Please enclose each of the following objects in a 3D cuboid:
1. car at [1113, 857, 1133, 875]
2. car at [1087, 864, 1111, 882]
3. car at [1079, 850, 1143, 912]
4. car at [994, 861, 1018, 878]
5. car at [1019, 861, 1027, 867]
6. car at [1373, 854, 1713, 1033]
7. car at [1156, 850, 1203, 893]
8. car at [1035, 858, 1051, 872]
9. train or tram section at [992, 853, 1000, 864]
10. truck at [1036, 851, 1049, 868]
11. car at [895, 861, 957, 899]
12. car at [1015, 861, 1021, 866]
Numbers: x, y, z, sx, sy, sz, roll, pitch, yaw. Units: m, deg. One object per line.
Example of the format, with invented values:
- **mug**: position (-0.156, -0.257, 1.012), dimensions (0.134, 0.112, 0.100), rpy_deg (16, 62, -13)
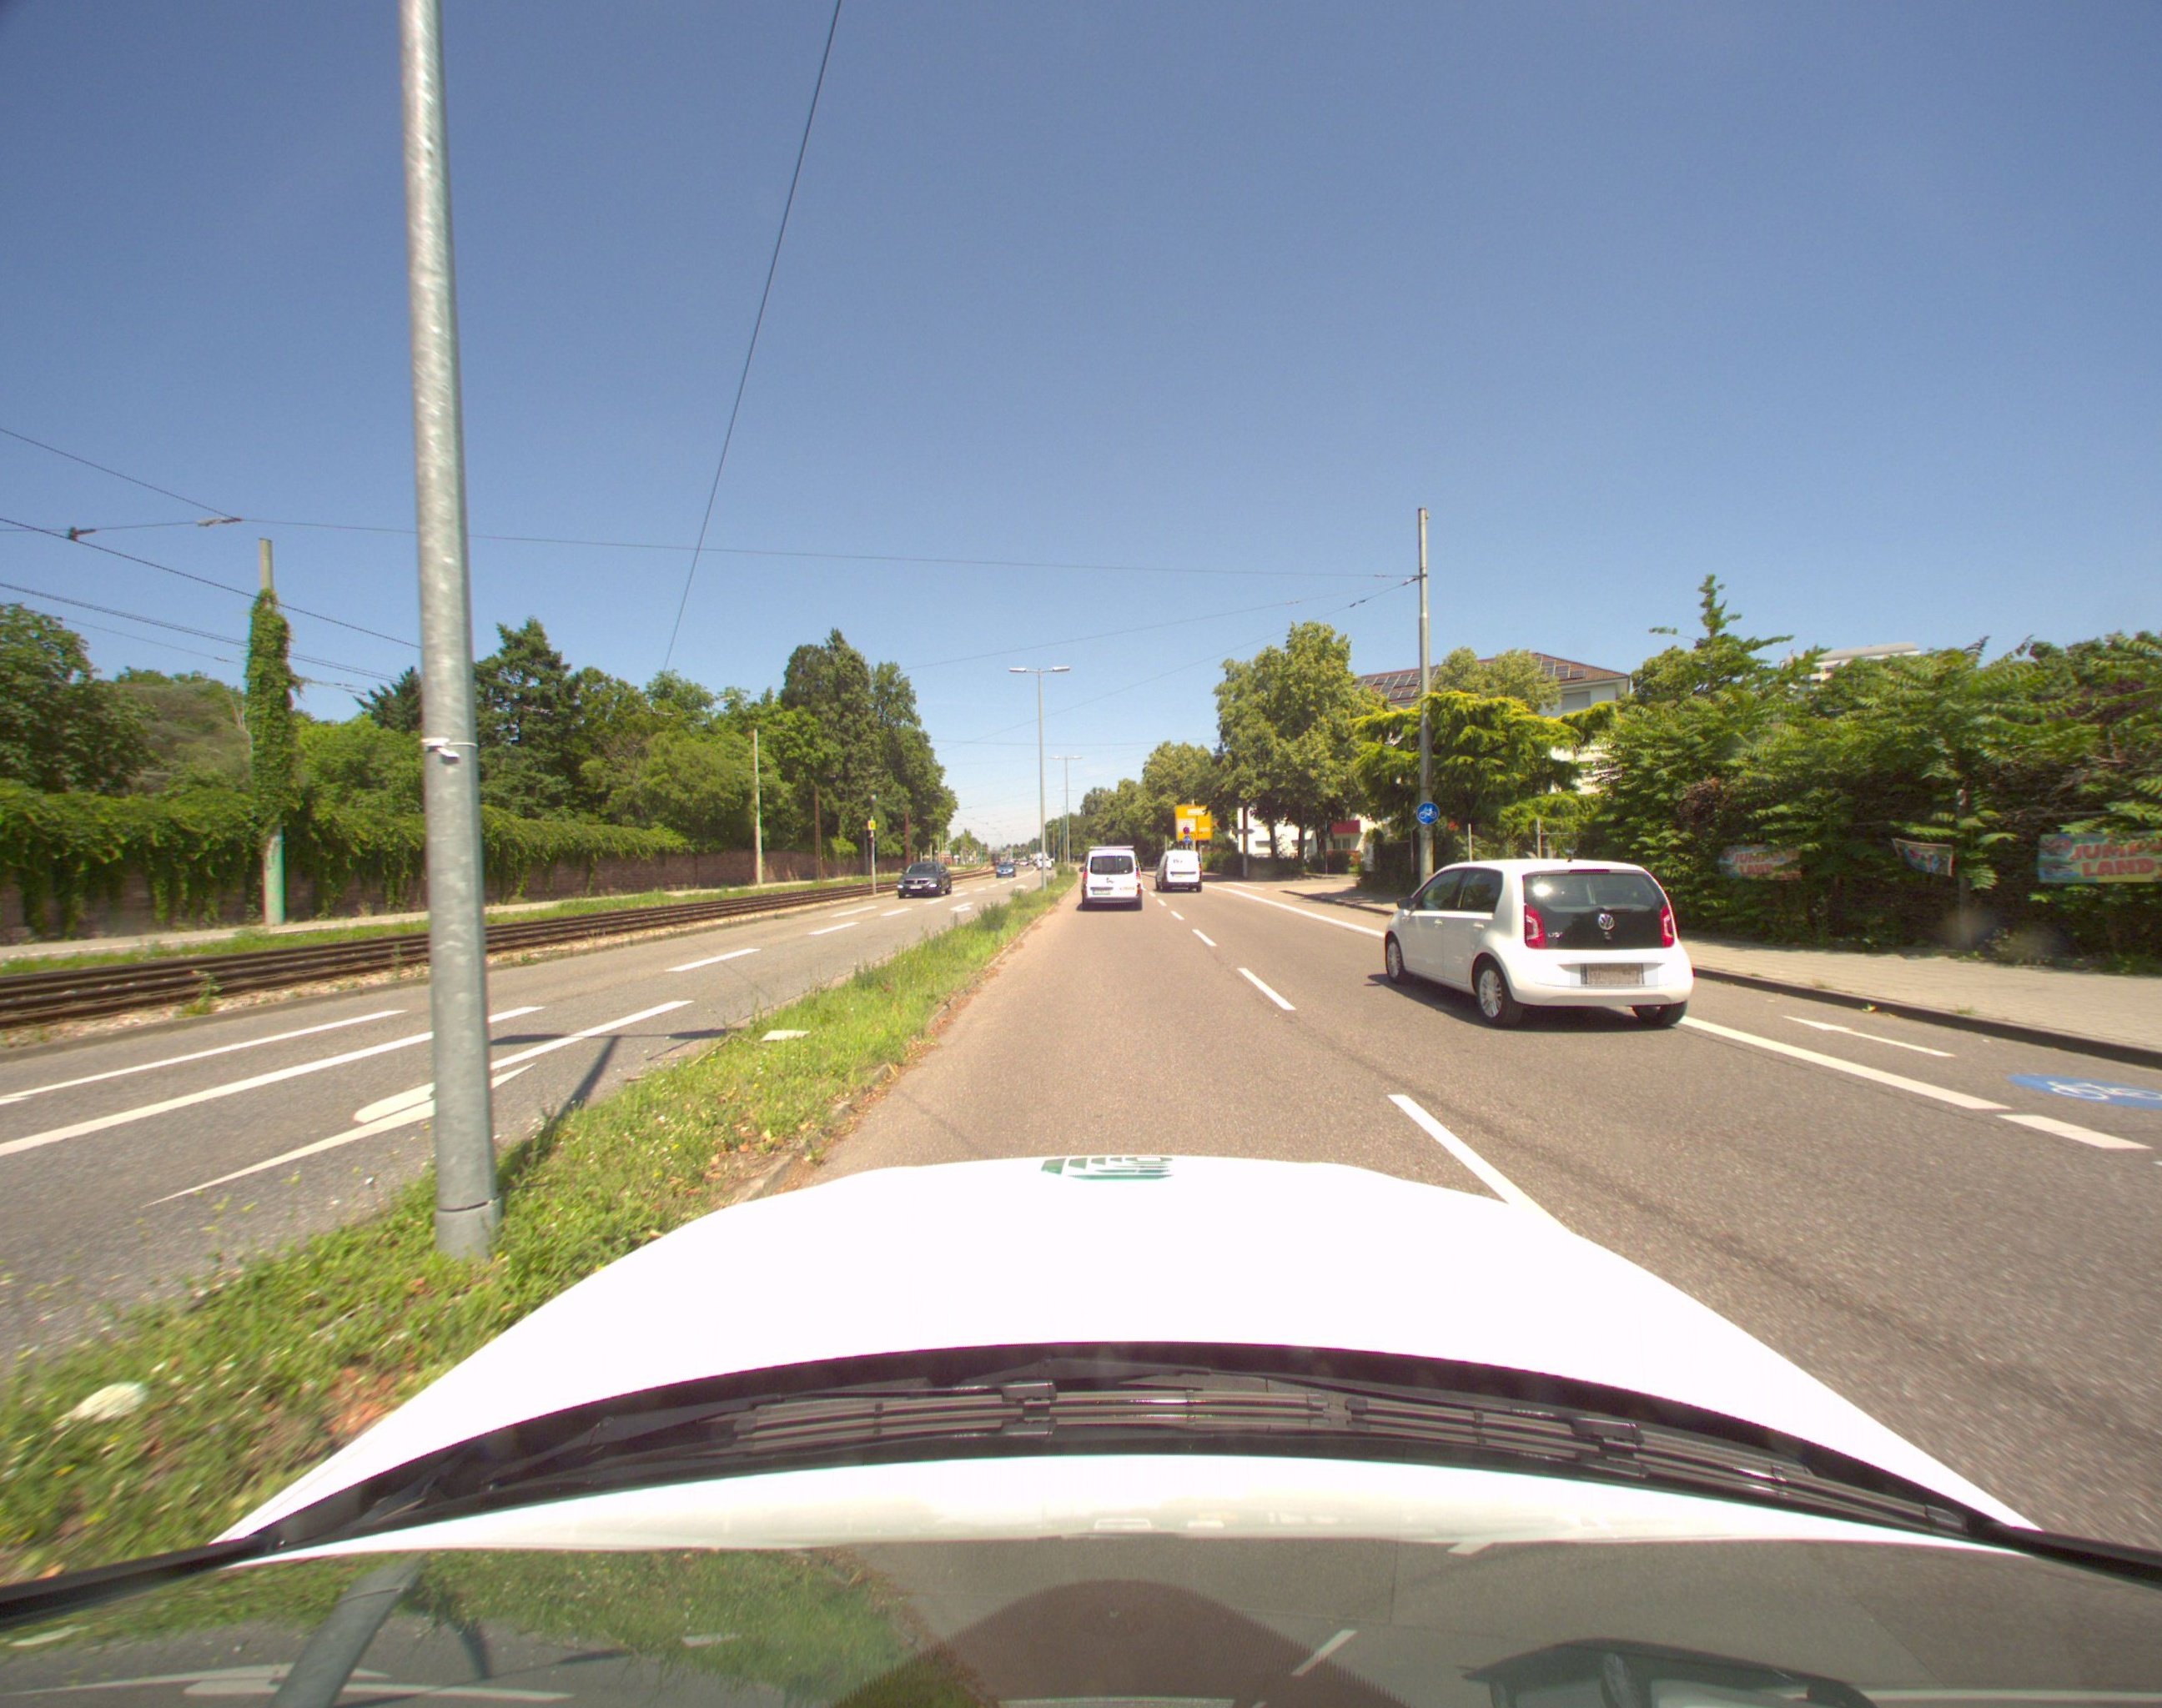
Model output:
- **car**: position (3.922, 1.111, 76.574), dimensions (1.828, 1.568, 4.003), rpy_deg (0, 0, 2)
- **car**: position (1.290, 1.356, 59.282), dimensions (1.686, 1.215, 3.590), rpy_deg (0, 0, 1)
- **car**: position (0.941, 0.757, 25.138), dimensions (1.814, 1.739, 4.399), rpy_deg (0, 0, 2)
- **car**: position (-6.752, 1.384, 73.573), dimensions (1.692, 1.439, 3.999), rpy_deg (-2, -1, 0)
- **car**: position (-14.304, 2.436, 200.647), dimensions (1.743, 1.567, 3.995), rpy_deg (0, -1, -3)
- **car**: position (4.401, 0.734, 8.390), dimensions (1.604, 1.447, 3.436), rpy_deg (0, 0, 1)
- **car**: position (4.315, 0.734, 36.072), dimensions (1.721, 1.788, 4.065), rpy_deg (0, 0, 1)
- **car**: position (-5.342, 1.532, 115.803), dimensions (1.986, 1.816, 4.001), rpy_deg (-1, 0, 1)
- **train or tram section**: position (-24.414, 1.445, 234.765), dimensions (1.992, 3.087, 16.126), rpy_deg (0, -1, -7)
- **truck**: position (-7.521, 1.129, 158.836), dimensions (1.986, 3.213, 5.313), rpy_deg (-1, 0, 1)
- **car**: position (-6.825, 1.123, 36.230), dimensions (1.689, 1.512, 4.070), rpy_deg (-2, 0, 4)
- **car**: position (-19.464, 3.001, 253.462), dimensions (1.743, 1.567, 3.995), rpy_deg (0, -1, -3)
